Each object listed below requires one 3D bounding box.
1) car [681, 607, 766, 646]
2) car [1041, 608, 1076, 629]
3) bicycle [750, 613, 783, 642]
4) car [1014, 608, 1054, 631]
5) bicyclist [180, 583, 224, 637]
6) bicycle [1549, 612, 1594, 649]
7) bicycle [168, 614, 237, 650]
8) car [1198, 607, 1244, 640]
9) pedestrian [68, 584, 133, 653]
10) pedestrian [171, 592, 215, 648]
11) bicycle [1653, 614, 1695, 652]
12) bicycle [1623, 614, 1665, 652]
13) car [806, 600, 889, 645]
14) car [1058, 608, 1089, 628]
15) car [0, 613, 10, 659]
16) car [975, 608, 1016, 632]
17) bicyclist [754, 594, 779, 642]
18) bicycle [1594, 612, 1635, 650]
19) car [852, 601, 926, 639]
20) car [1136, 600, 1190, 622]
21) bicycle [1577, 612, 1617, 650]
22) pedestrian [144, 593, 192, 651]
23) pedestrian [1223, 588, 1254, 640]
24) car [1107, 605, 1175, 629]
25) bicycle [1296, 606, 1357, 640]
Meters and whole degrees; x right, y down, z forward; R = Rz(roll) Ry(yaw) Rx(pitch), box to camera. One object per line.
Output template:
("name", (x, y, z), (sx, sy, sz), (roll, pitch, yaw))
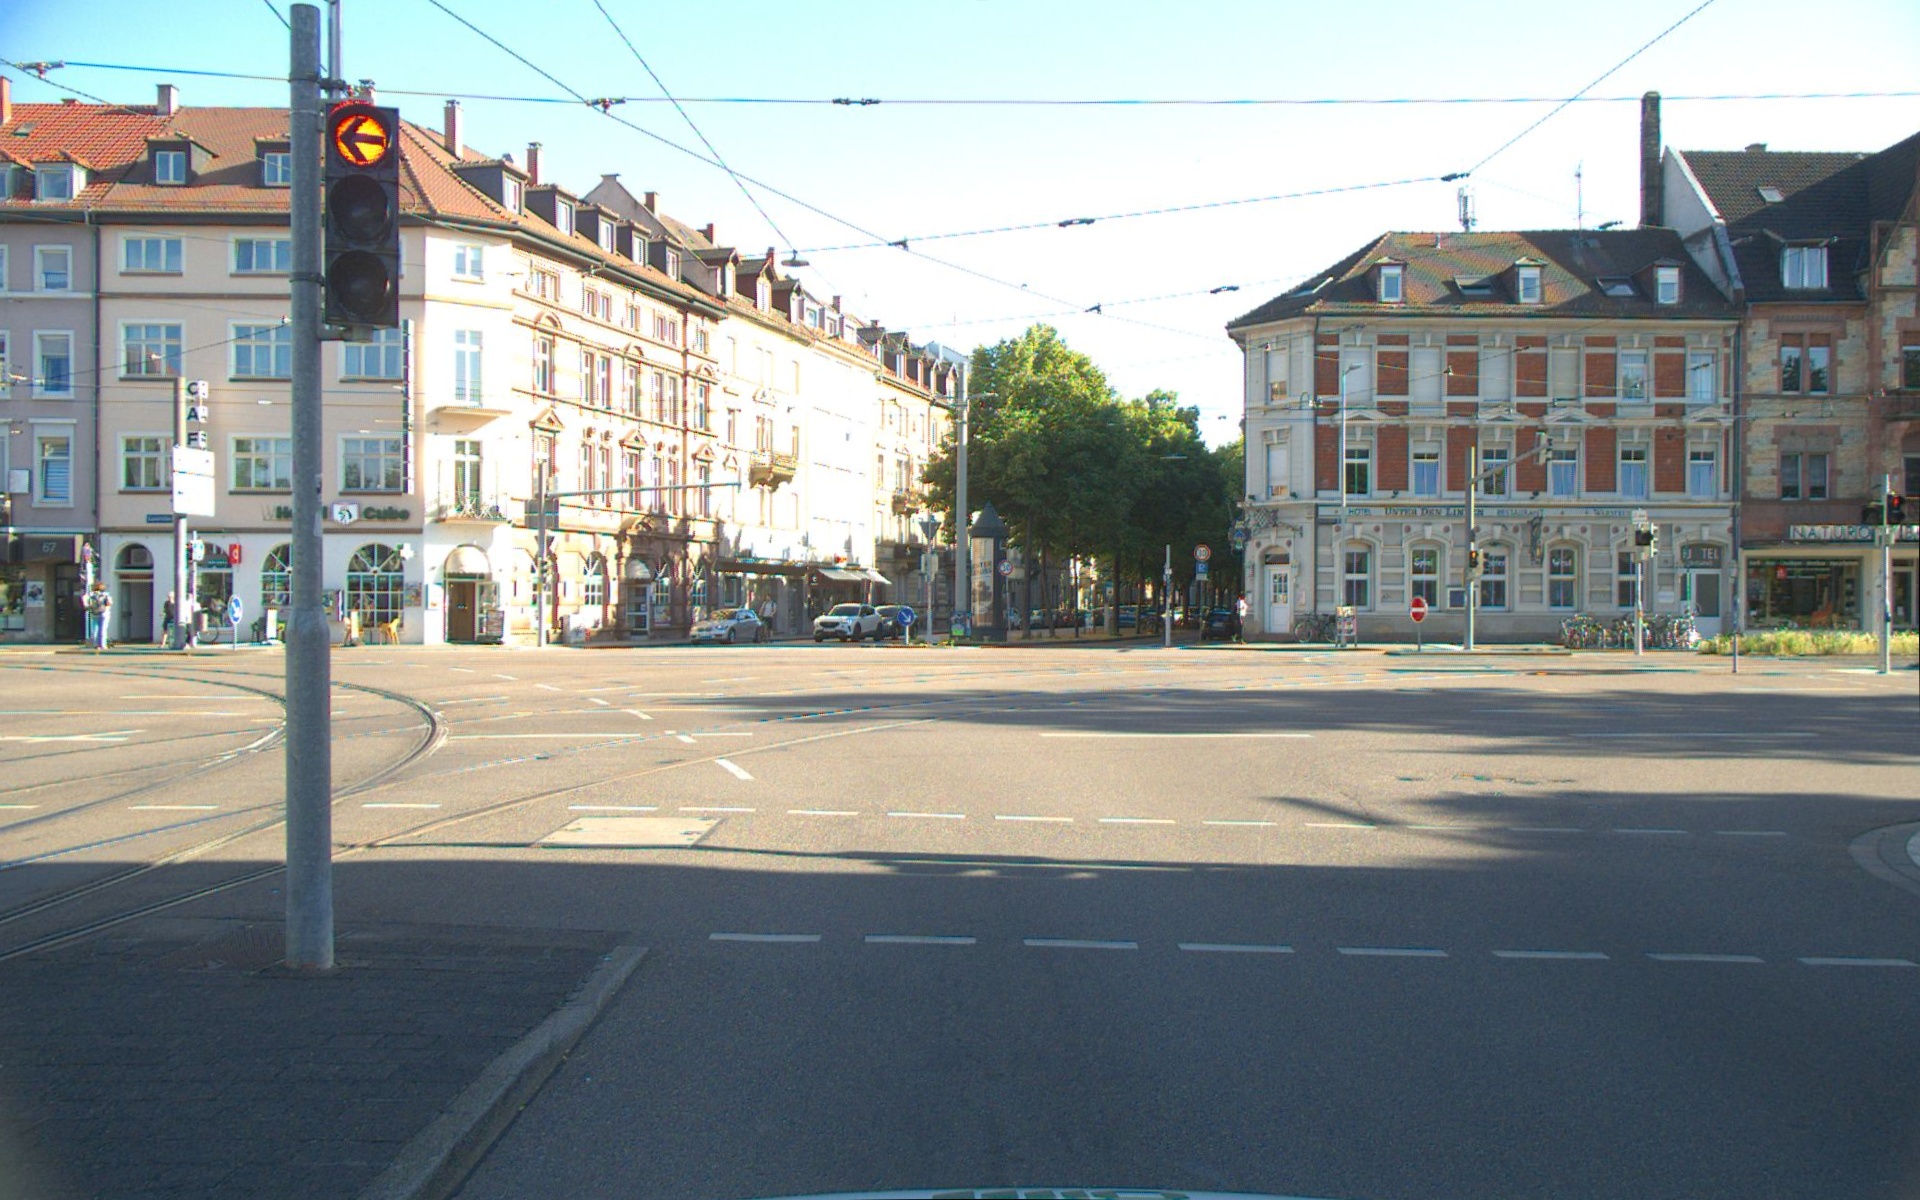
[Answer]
("car", (-9.521, 1.034, 66.899), (1.858, 1.481, 4.002), (0, 0, 17))
("car", (7.787, 1.419, 130.561), (1.798, 1.579, 4.393), (0, 0, 16))
("bicycle", (-7.592, 1.080, 64.889), (0.665, 1.085, 2.127), (0, 0, 12))
("car", (5.533, 1.422, 122.737), (1.951, 1.640, 4.393), (0, 0, 17))
("bicyclist", (-25.573, 0.326, 55.838), (1.142, 1.806, 0.748), (0, 0, -2))
("bicycle", (19.825, 0.983, 53.657), (0.789, 1.163, 2.175), (0, 0, 4))
("bicycle", (-25.616, 1.089, 55.960), (2.048, 1.202, 0.631), (0, 0, -1))
("car", (13.075, 1.156, 82.633), (1.951, 1.613, 4.003), (0, 0, 13))
("pedestrian", (-21.564, 0.449, 41.494), (1.058, 1.714, 1.103), (0, 0, -1))
("pedestrian", (-24.990, 0.647, 53.879), (0.918, 1.806, 1.010), (0, 0, 4))
("bicycle", (23.041, 1.053, 53.397), (0.596, 1.156, 2.136), (0, 0, 4))
("bicycle", (22.077, 1.050, 53.449), (0.605, 1.163, 2.175), (0, 0, 4))
("car", (-4.538, 0.883, 67.253), (1.951, 1.713, 4.393), (0, 0, 17))
("car", (9.399, 1.458, 136.462), (1.727, 1.576, 4.394), (0, 0, 16))
("car", (-32.394, 1.145, 51.946), (3.907, 1.478, 1.999), (0, 0, -3))
("car", (2.418, 1.322, 110.990), (1.951, 1.512, 4.003), (0, 0, 13))
("bicyclist", (-7.581, 0.693, 64.931), (0.664, 1.852, 1.071), (0, 0, 12))
("bicycle", (21.169, 0.988, 53.508), (0.605, 1.163, 2.175), (0, 0, 4))
("car", (-3.143, 0.860, 73.787), (1.951, 1.640, 4.393), (0, 0, 17))
("car", (16.425, 0.880, 133.871), (3.912, 1.736, 1.996), (0, 0, 30))
("bicycle", (20.597, 0.994, 53.538), (0.605, 1.163, 2.175), (0, 0, 4))
("pedestrian", (-24.889, 0.685, 52.007), (0.985, 1.806, 0.942), (0, 0, 14))
("pedestrian", (9.609, 0.468, 57.102), (1.024, 1.774, 0.809), (0, 0, 5))
("car", (12.653, 1.197, 115.417), (4.290, 1.640, 1.998), (0, 0, 26))
("bicycle", (12.755, 0.814, 57.582), (2.045, 1.144, 0.366), (1, -1, -5))
